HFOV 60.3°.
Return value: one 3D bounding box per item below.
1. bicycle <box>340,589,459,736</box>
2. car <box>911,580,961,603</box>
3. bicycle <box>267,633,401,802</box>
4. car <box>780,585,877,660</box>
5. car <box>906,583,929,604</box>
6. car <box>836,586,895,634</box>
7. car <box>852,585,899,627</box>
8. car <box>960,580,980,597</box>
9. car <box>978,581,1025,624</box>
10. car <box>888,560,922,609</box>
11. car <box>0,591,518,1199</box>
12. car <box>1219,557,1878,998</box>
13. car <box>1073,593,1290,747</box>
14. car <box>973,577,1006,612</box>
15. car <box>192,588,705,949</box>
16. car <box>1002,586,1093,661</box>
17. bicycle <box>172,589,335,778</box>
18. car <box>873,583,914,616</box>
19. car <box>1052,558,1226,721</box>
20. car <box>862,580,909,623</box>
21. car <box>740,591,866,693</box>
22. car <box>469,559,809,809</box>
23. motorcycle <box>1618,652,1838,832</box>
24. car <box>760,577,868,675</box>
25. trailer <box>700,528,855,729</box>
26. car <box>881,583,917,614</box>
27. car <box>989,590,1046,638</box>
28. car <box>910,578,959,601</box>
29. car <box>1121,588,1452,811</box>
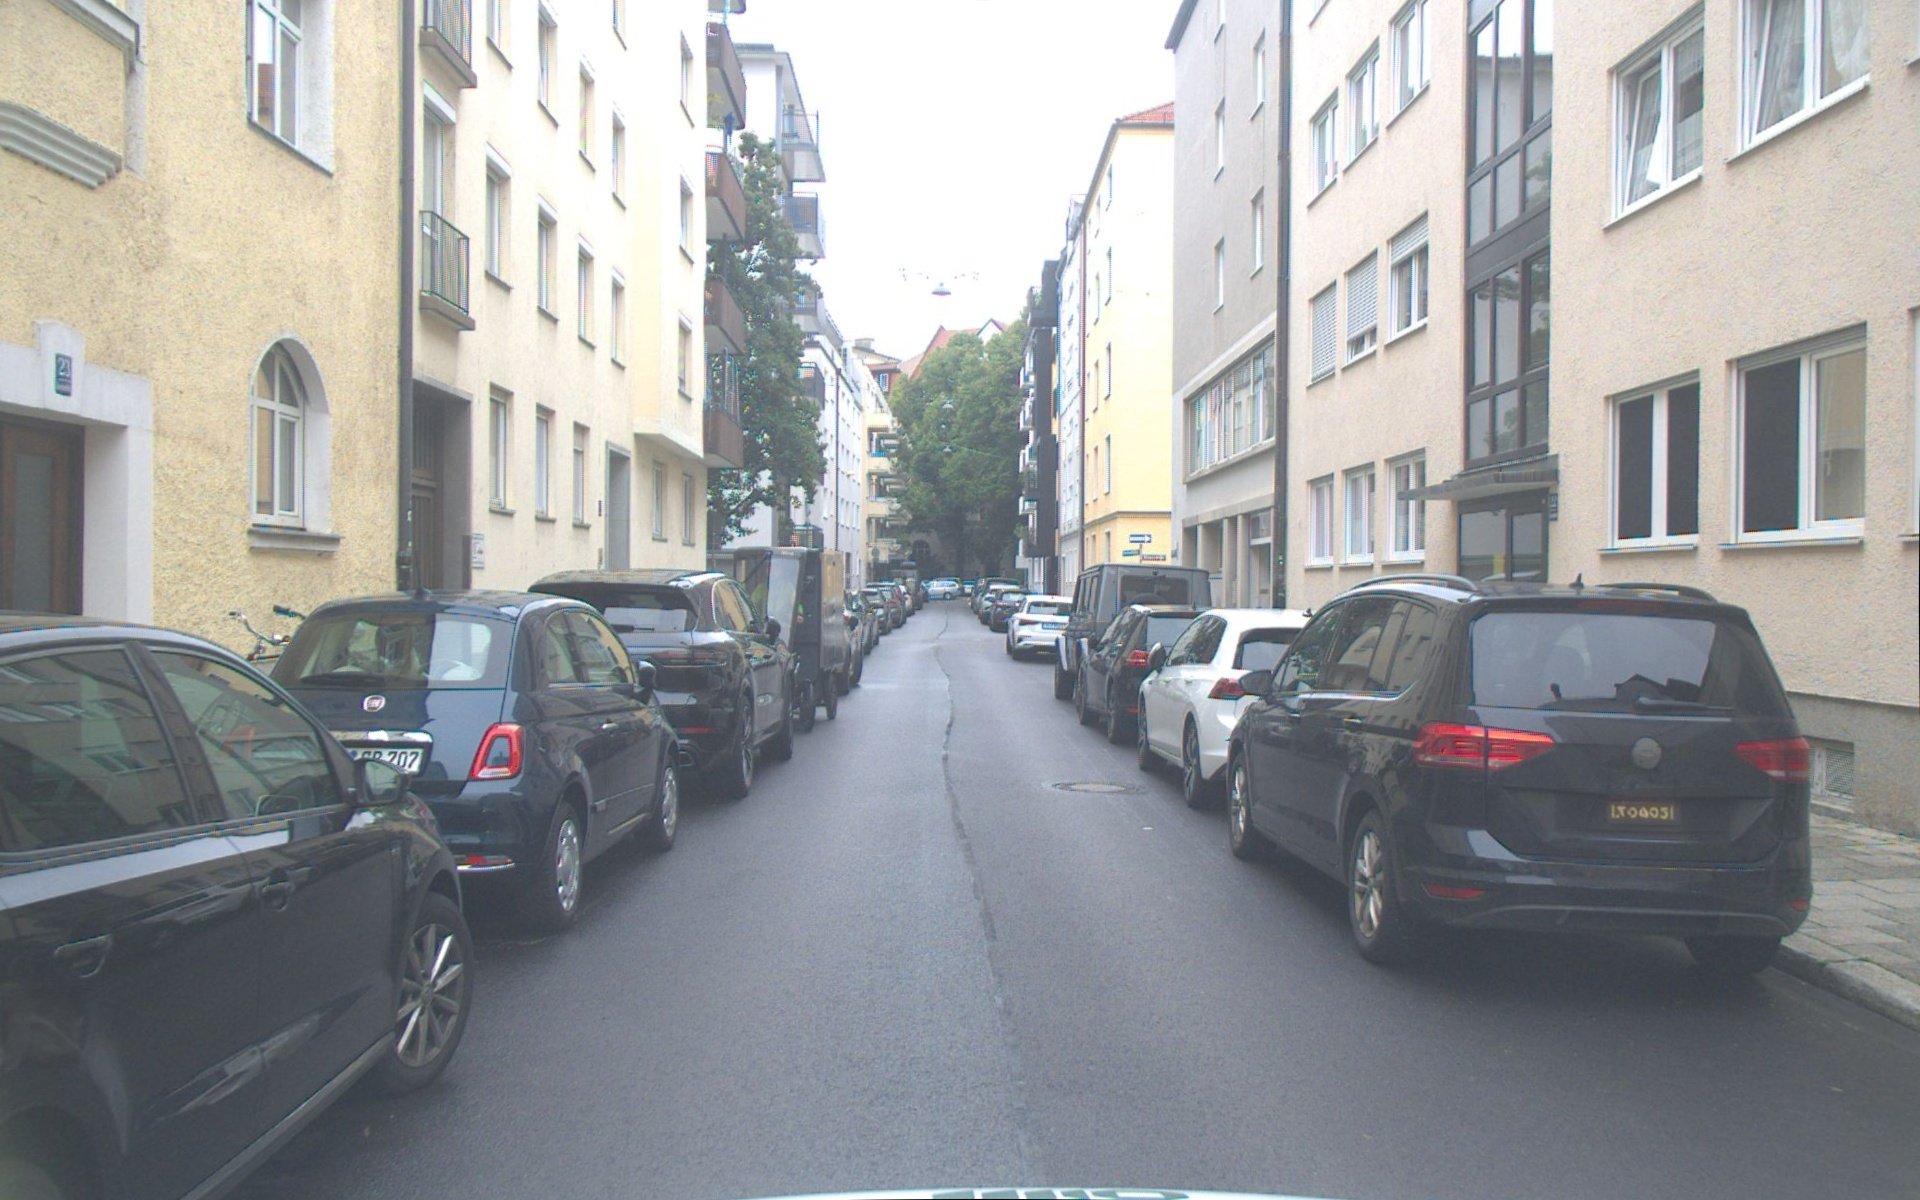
[{"bbox_3d":[-5.315,0.567,15.760,0.582,1.301,1.551,3,0,-2],"label":"bicycle"},{"bbox_3d":[-1.879,-0.689,128.624,3.807,1.612,1.647,-2,1,-2],"label":"car"},{"bbox_3d":[-5.297,0.959,14.080,0.524,1.301,1.551,3,0,-2],"label":"bicycle"},{"bbox_3d":[-2.852,0.446,36.606,1.729,1.509,4.424,0,1,1],"label":"car"},{"bbox_3d":[-3.035,-0.509,118.713,1.609,1.407,3.482,-2,1,-1],"label":"car"},{"bbox_3d":[-3.022,0.289,53.349,1.658,1.467,3.942,-1,1,0],"label":"car"},{"bbox_3d":[-3.093,0.190,61.165,1.659,1.467,3.976,-1,1,-2],"label":"car"},{"bbox_3d":[0.868,-0.991,145.849,1.609,1.407,3.745,-2,1,-1],"label":"car"},{"bbox_3d":[1.704,0.080,68.702,1.648,1.595,4.414,3,1,-2],"label":"car"},{"bbox_3d":[-3.301,-0.955,100.057,1.897,2.850,4.532,-2,1,-1],"label":"car"},{"bbox_3d":[-2.194,0.731,3.657,1.531,1.486,3.762,0,0,-2],"label":"car"},{"bbox_3d":[2.577,0.681,8.405,1.677,1.636,4.242,2,0,-2],"label":"car"},{"bbox_3d":[2.381,0.707,18.786,1.677,1.512,4.242,2,0,-3],"label":"car"},{"bbox_3d":[1.837,-0.363,103.010,1.792,2.034,4.415,3,1,-1],"label":"car"},{"bbox_3d":[-2.386,0.693,8.585,1.530,1.486,3.476,0,0,1],"label":"car"},{"bbox_3d":[1.986,0.513,38.612,1.782,1.432,3.952,1,3,-2],"label":"car"},{"bbox_3d":[-5.242,0.585,12.362,0.524,1.301,1.551,3,0,-2],"label":"bicycle"},{"bbox_3d":[-3.173,-0.046,80.053,1.740,1.513,4.519,-2,1,0],"label":"car"},{"bbox_3d":[2.422,0.471,23.406,1.716,2.009,4.341,3,1,-3],"label":"car"},{"bbox_3d":[-2.987,0.045,67.157,1.740,1.657,4.414,-1,1,-1],"label":"car"},{"bbox_3d":[-2.371,0.604,25.779,1.618,1.461,3.802,0,0,0],"label":"car"},{"bbox_3d":[-2.383,0.564,13.453,1.840,1.689,4.415,0,0,1],"label":"car"},{"bbox_3d":[4.991,0.883,10.884,0.472,0.984,1.911,-3,0,-1],"label":"motorcycle"},{"bbox_3d":[-2.665,0.447,31.047,1.730,1.704,4.366,0,0,-1],"label":"car"},{"bbox_3d":[-2.072,0.301,19.444,1.327,2.153,3.319,1,0,2],"label":"trailer"},{"bbox_3d":[-3.134,-0.076,85.399,1.741,1.478,4.045,-2,1,-1],"label":"car"},{"bbox_3d":[2.004,0.472,58.484,1.715,1.494,4.342,3,1,-1],"label":"car"},{"bbox_3d":[-1.996,-0.823,130.573,3.807,1.612,1.647,-2,1,-2],"label":"car"},{"bbox_3d":[2.484,0.694,13.631,1.677,1.512,4.242,2,0,-3],"label":"car"}]
